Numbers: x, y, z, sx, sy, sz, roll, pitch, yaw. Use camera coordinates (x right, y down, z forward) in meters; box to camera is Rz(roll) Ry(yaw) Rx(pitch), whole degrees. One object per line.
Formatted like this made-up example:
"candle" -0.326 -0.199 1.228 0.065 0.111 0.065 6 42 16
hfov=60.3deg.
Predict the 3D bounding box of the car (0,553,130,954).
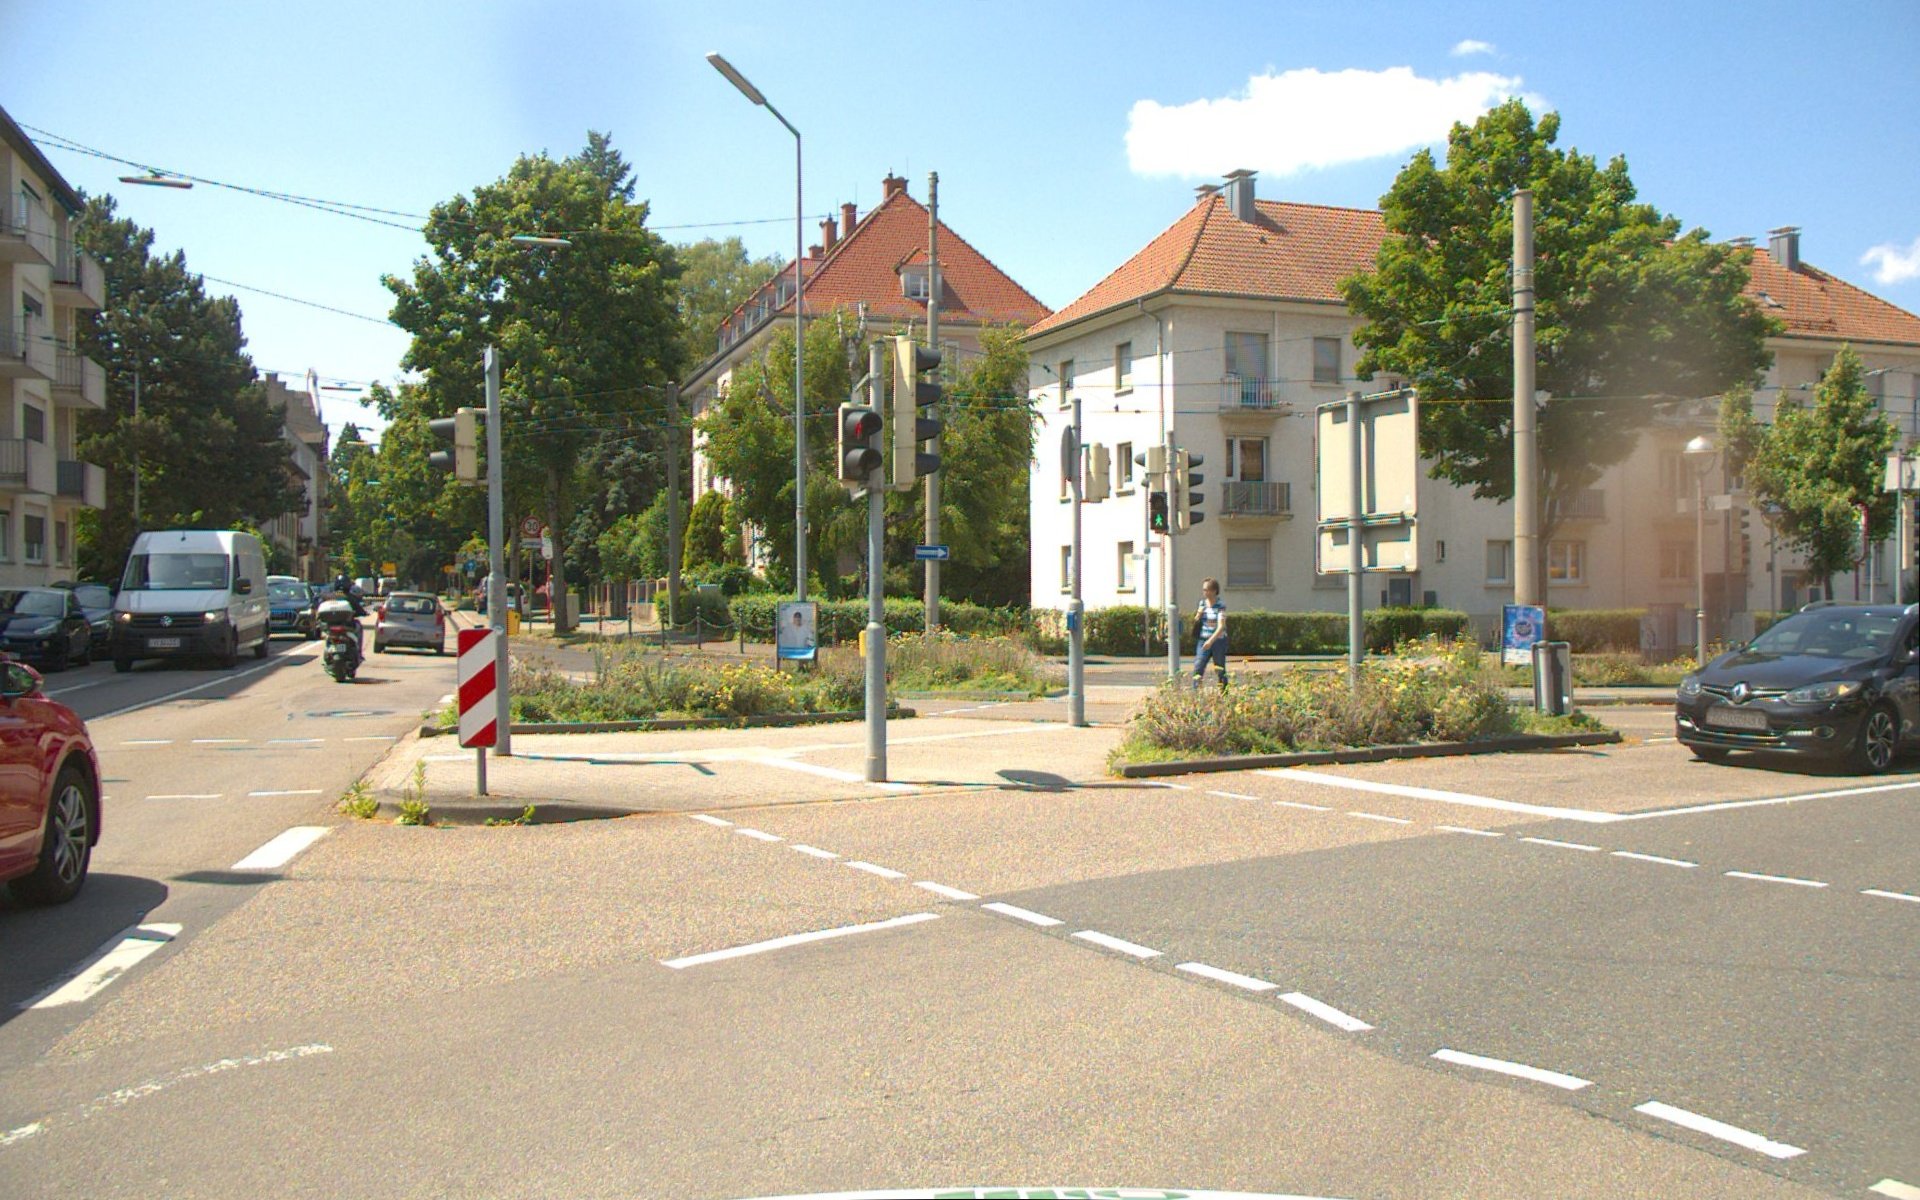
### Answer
"car" -4.571 0.597 5.922 1.766 1.585 4.027 1 0 -10

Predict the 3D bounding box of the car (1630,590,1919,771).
"car" 8.679 0.676 16.083 4.373 1.526 1.976 0 0 -35

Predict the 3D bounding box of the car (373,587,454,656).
"car" -13.276 0.479 40.322 1.770 1.585 4.018 0 0 -17

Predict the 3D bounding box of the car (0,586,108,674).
"car" -17.387 0.549 31.052 1.964 1.546 3.976 1 -1 -20

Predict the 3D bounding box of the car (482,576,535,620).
"car" -19.525 -0.100 71.440 1.964 1.839 3.978 1 0 -19

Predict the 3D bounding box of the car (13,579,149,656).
"car" -18.778 0.375 35.499 1.964 1.546 3.977 1 -1 -20

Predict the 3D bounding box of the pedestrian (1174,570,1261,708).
"pedestrian" 3.304 0.487 21.258 0.828 1.735 0.753 0 0 -34

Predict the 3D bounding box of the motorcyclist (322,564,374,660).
"motorcyclist" -9.553 0.182 25.824 0.700 1.471 1.014 0 0 -18

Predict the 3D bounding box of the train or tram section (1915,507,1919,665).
"train or tram section" 28.886 -0.317 39.360 13.937 3.631 2.800 0 0 -22

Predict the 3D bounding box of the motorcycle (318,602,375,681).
"motorcycle" -9.563 0.618 25.832 0.700 1.154 2.186 0 0 -17

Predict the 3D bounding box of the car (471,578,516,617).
"car" -23.772 -0.154 84.159 1.964 1.940 3.978 1 0 -19

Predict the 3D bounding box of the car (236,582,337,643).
"car" -19.094 0.315 47.064 1.819 1.585 4.275 -2 1 -11

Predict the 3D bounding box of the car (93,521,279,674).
"car" -14.997 -0.064 32.523 2.182 2.544 7.517 -3 1 -17
